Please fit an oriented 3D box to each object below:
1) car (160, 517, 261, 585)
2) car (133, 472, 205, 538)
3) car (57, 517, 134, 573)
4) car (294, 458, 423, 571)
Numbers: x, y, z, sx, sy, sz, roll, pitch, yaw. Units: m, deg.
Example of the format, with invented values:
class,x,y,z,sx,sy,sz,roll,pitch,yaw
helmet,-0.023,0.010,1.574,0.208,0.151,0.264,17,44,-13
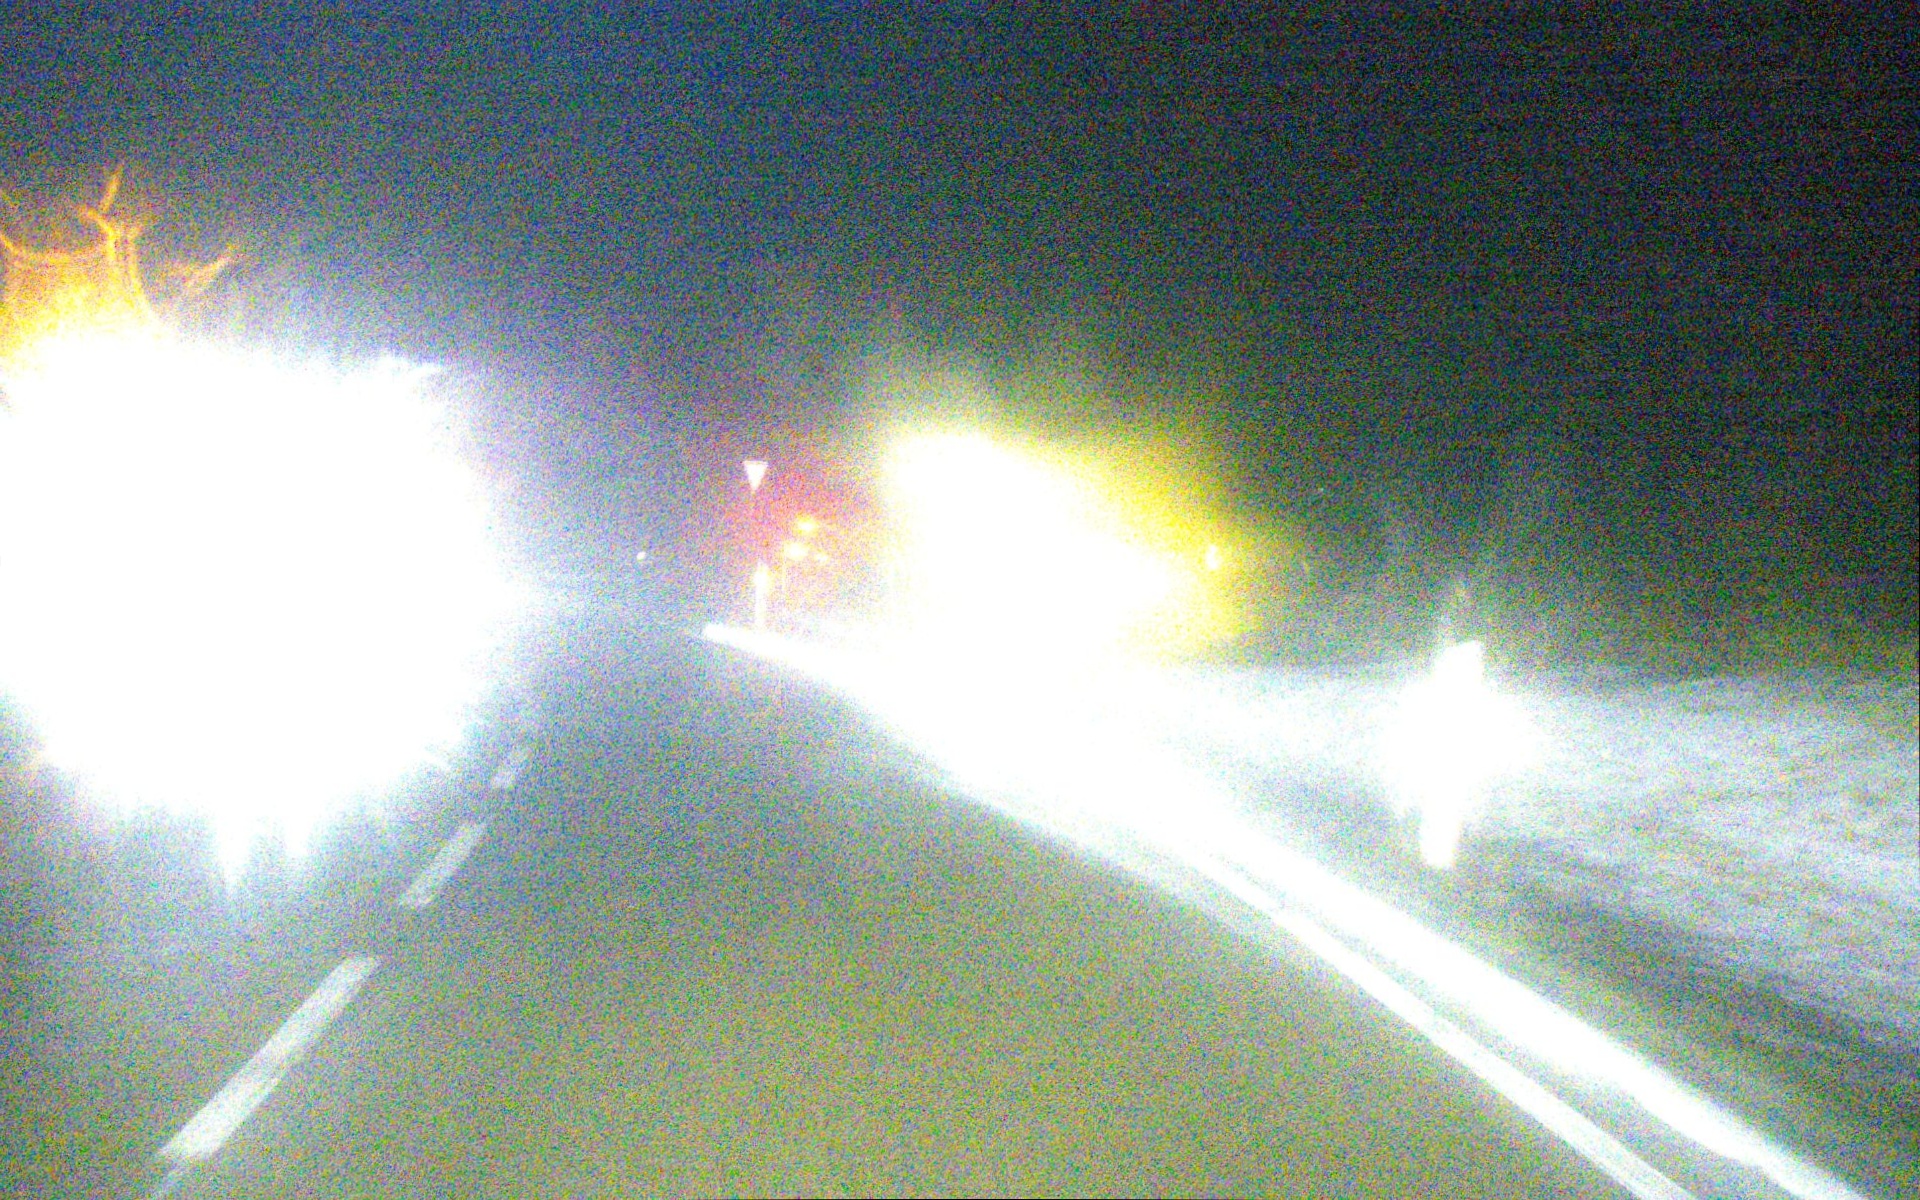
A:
class,x,y,z,sx,sy,sz,roll,pitch,yaw
car,-17.798,-1.158,81.504,1.955,1.517,4.400,2,0,-17
car,-25.940,-3.091,112.643,1.993,2.007,4.001,2,0,-17
car,-24.481,-1.573,97.299,1.711,1.471,3.870,2,1,-19
car,-15.210,-2.191,86.632,2.538,2.489,5.717,1,4,-16
